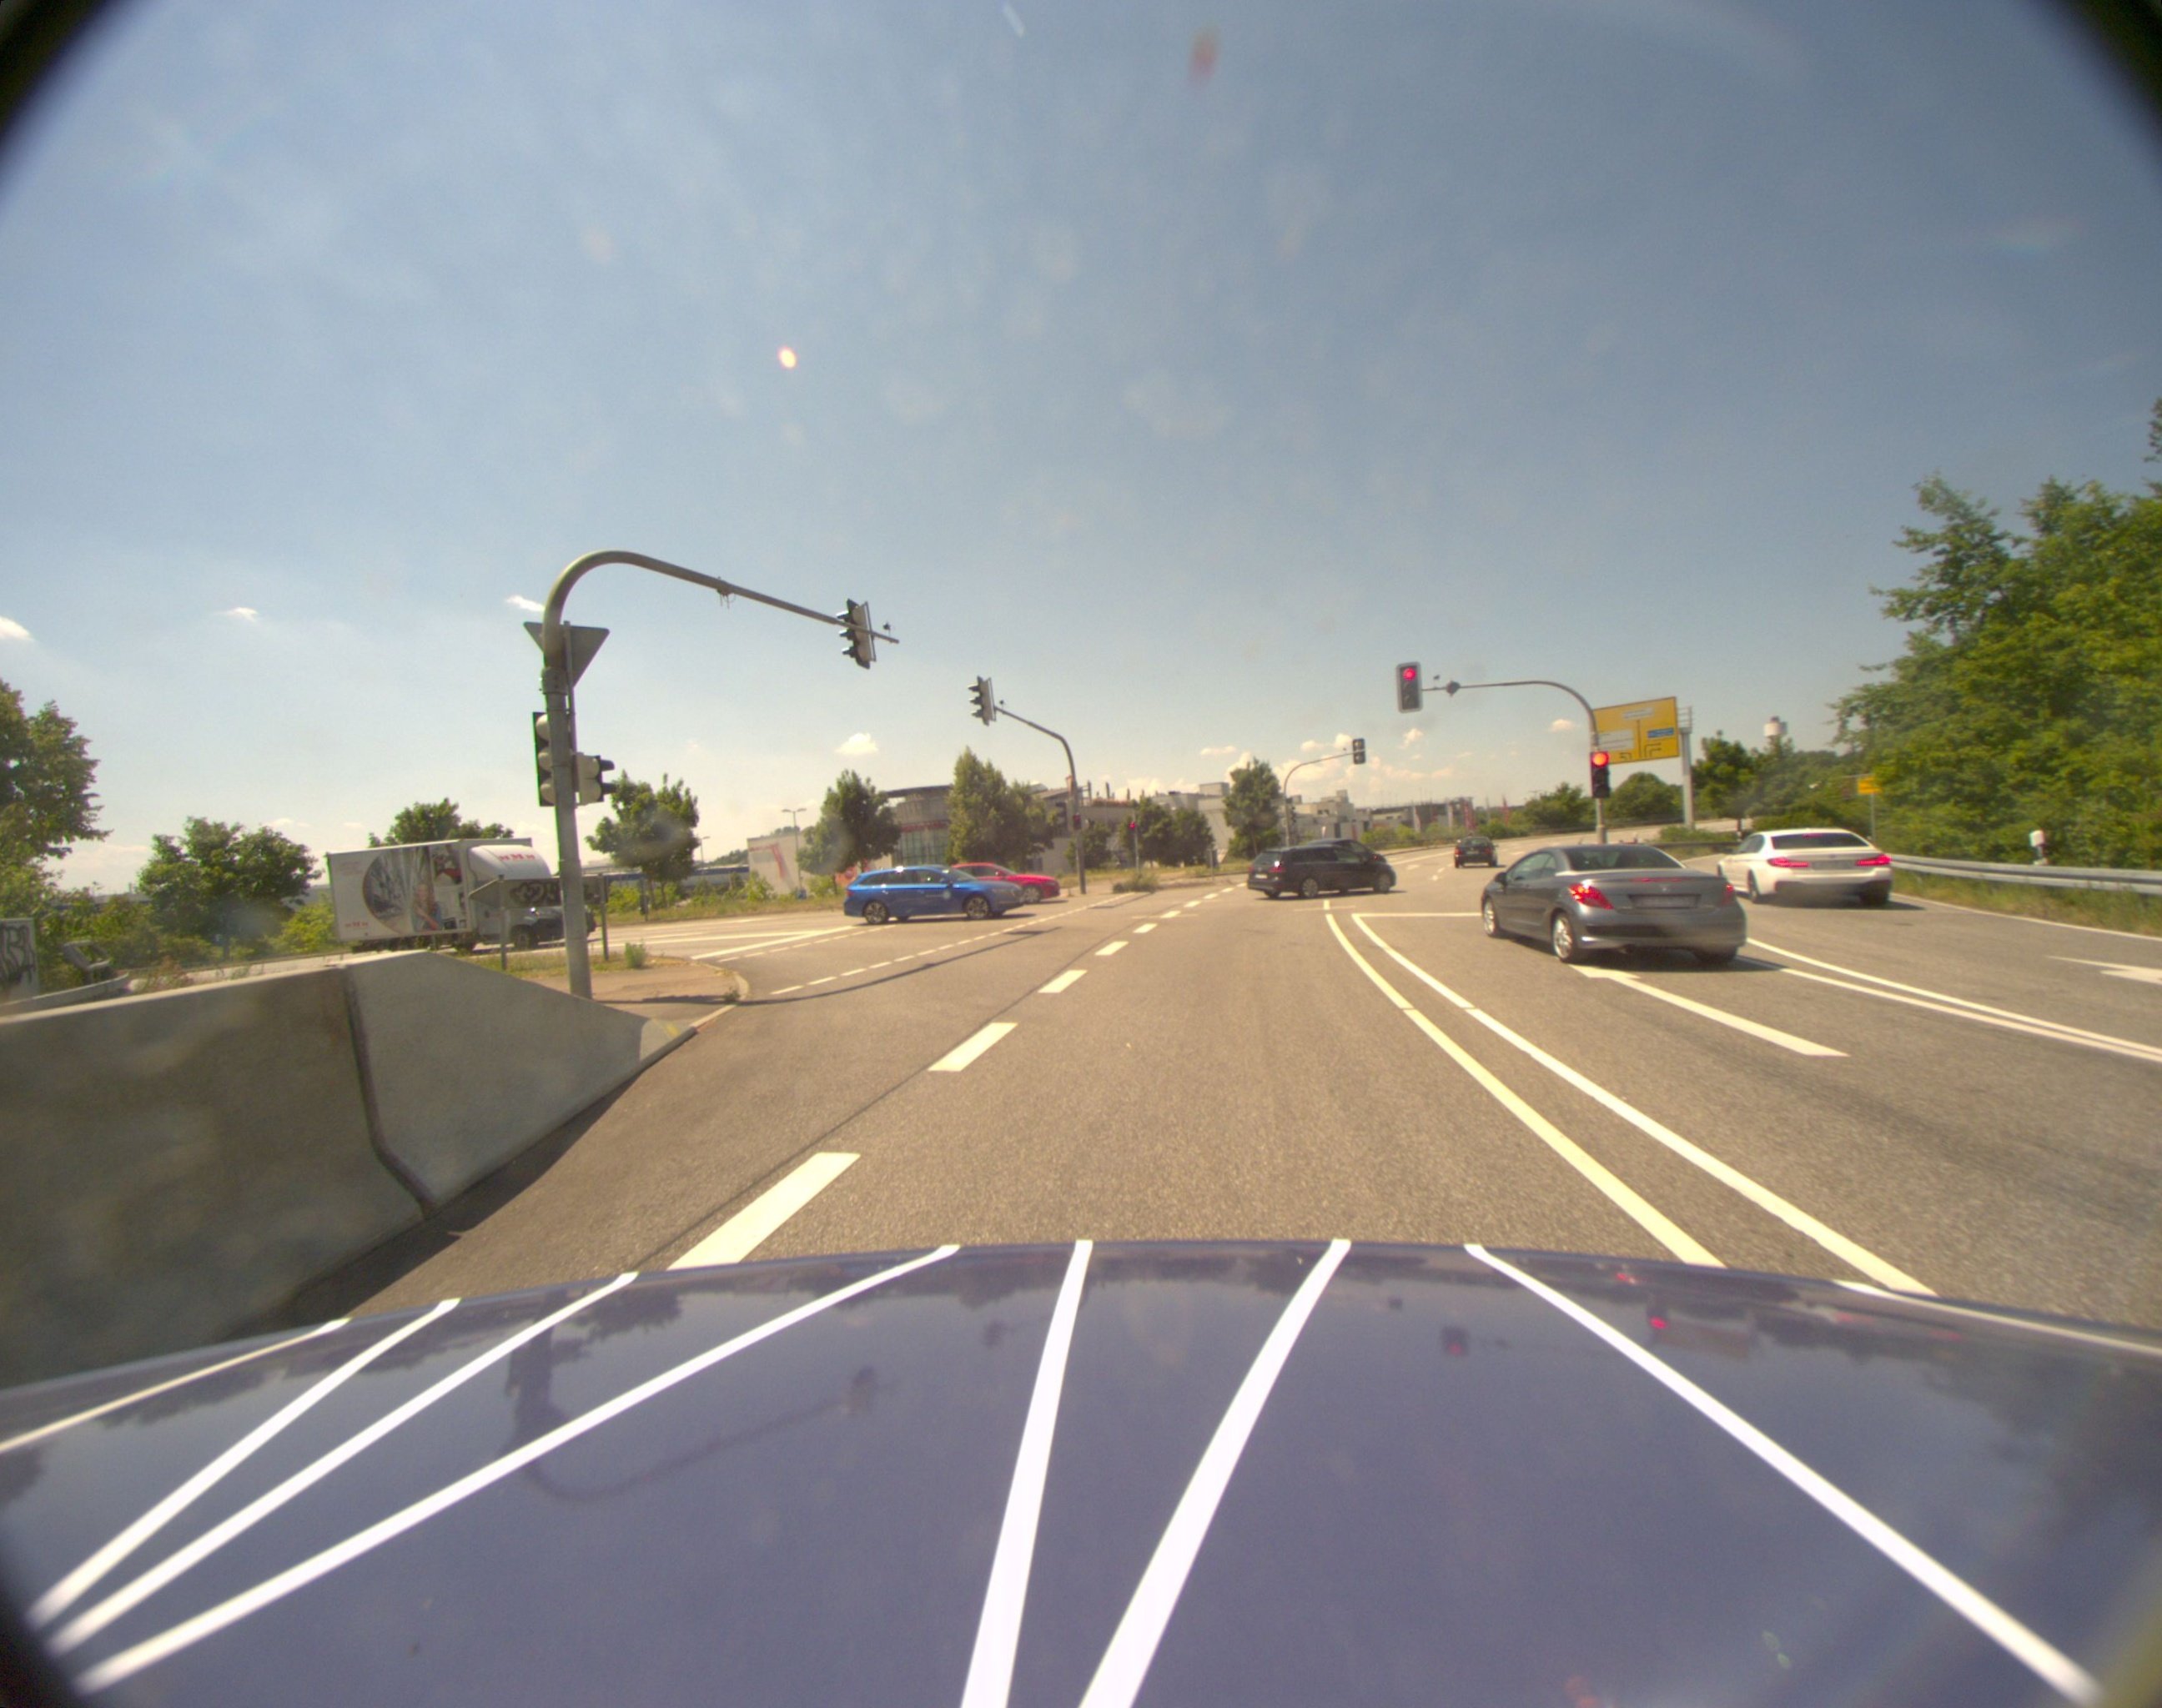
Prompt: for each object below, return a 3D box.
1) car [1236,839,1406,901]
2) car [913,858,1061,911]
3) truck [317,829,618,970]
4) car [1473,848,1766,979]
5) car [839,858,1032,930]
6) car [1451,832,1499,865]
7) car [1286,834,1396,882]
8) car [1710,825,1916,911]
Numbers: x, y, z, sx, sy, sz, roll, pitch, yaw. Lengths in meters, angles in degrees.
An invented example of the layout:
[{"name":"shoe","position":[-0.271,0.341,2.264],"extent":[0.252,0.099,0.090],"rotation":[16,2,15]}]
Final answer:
[{"name":"car","position":[6.830,0.398,21.630],"extent":[4.433,1.474,1.780],"rotation":[-3,2,-20]},{"name":"car","position":[-2.945,0.963,24.453],"extent":[4.446,1.381,1.666],"rotation":[-3,2,2]},{"name":"truck","position":[-18.131,1.306,22.644],"extent":[7.193,3.329,2.416],"rotation":[-6,3,9]},{"name":"car","position":[6.640,0.618,9.936],"extent":[1.648,1.344,3.972],"rotation":[-1,0,11]},{"name":"car","position":[-3.695,1.015,19.639],"extent":[4.482,1.454,1.714],"rotation":[-4,2,11]},{"name":"car","position":[18.535,-0.283,35.707],"extent":[1.620,1.399,3.306],"rotation":[-1,2,34]},{"name":"car","position":[10.115,0.104,29.402],"extent":[4.513,1.592,1.876],"rotation":[-3,2,-39]},{"name":"car","position":[14.722,0.208,15.641],"extent":[1.839,1.476,4.846],"rotation":[-1,1,29]}]
